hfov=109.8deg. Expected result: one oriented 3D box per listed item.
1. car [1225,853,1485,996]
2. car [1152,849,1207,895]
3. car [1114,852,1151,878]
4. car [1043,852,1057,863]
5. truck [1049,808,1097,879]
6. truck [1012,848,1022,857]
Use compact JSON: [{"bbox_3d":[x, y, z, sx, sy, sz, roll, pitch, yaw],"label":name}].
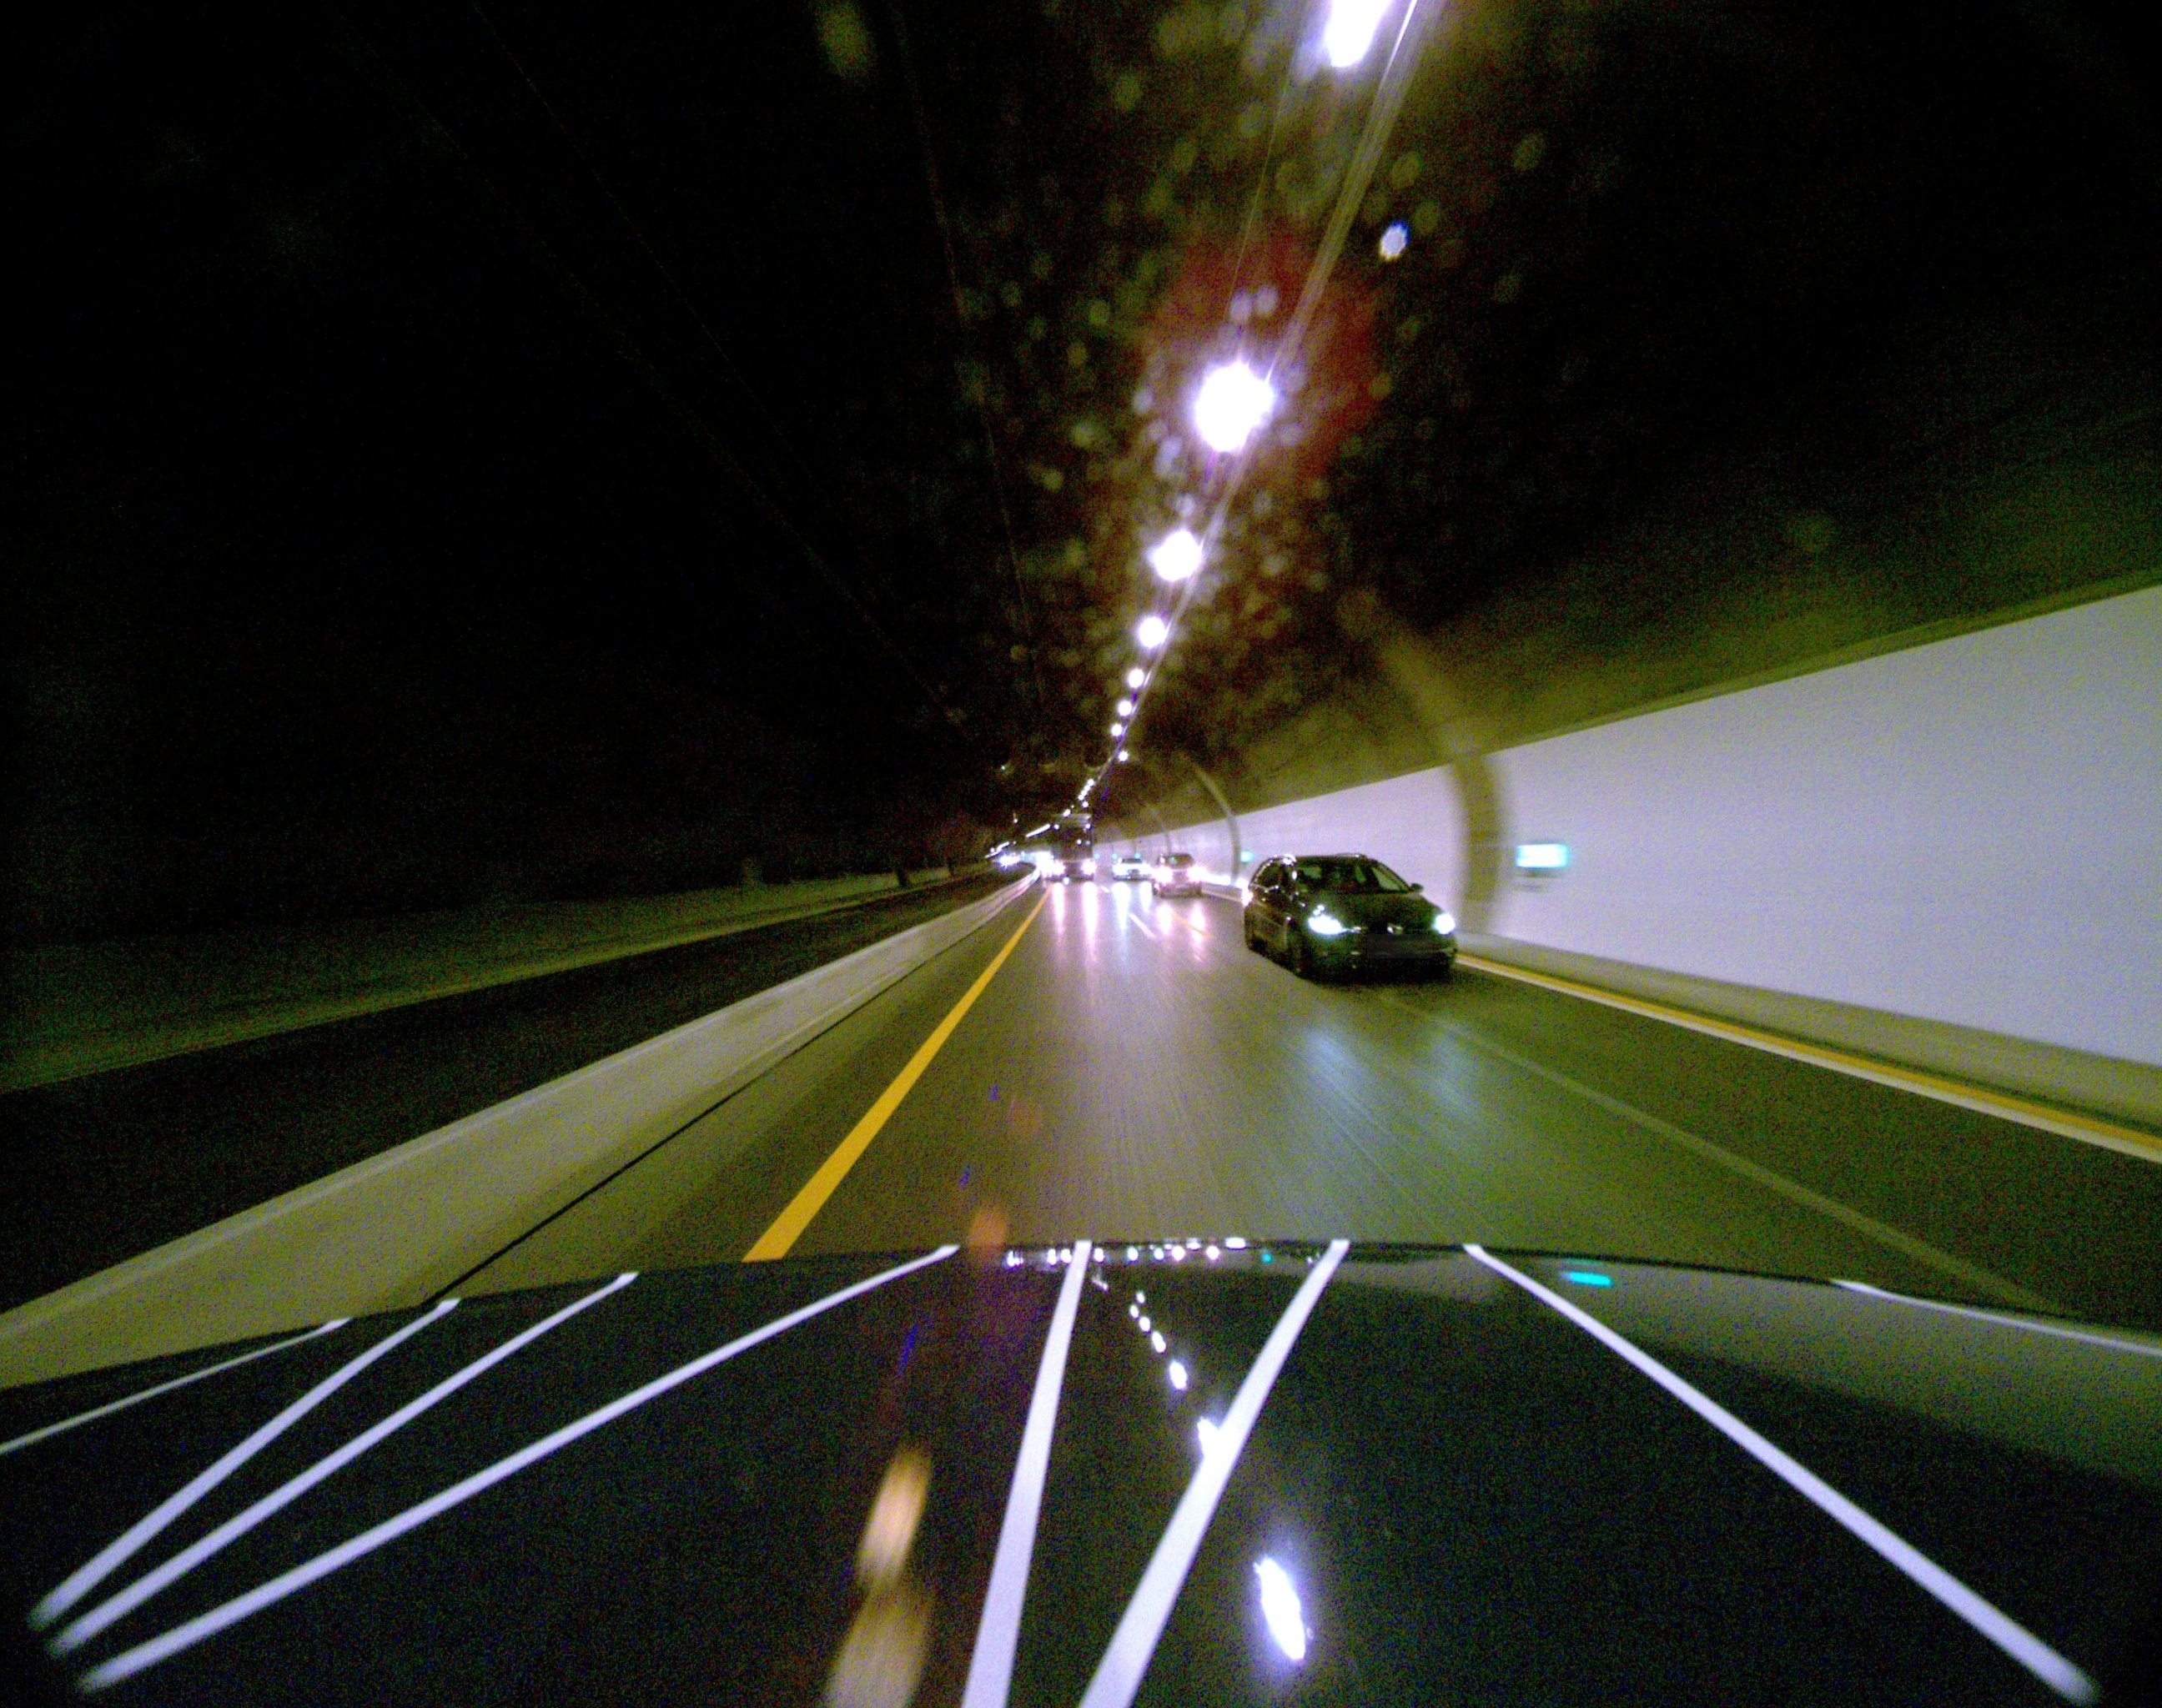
[{"bbox_3d":[3.360,0.740,10.481,1.782,1.430,4.882,-2,0,0],"label":"car"},{"bbox_3d":[3.477,0.618,27.287,1.531,1.508,2.651,-2,0,-1],"label":"car"},{"bbox_3d":[3.039,0.607,45.436,1.909,1.412,4.060,-2,0,0],"label":"car"},{"bbox_3d":[-4.693,0.533,115.144,1.999,1.524,3.998,-2,0,-5],"label":"car"},{"bbox_3d":[-0.422,-0.654,49.135,2.742,4.127,8.100,-2,0,1],"label":"truck"},{"bbox_3d":[-20.499,-0.527,243.190,2.611,2.723,6.393,-2,0,-8],"label":"truck"}]
